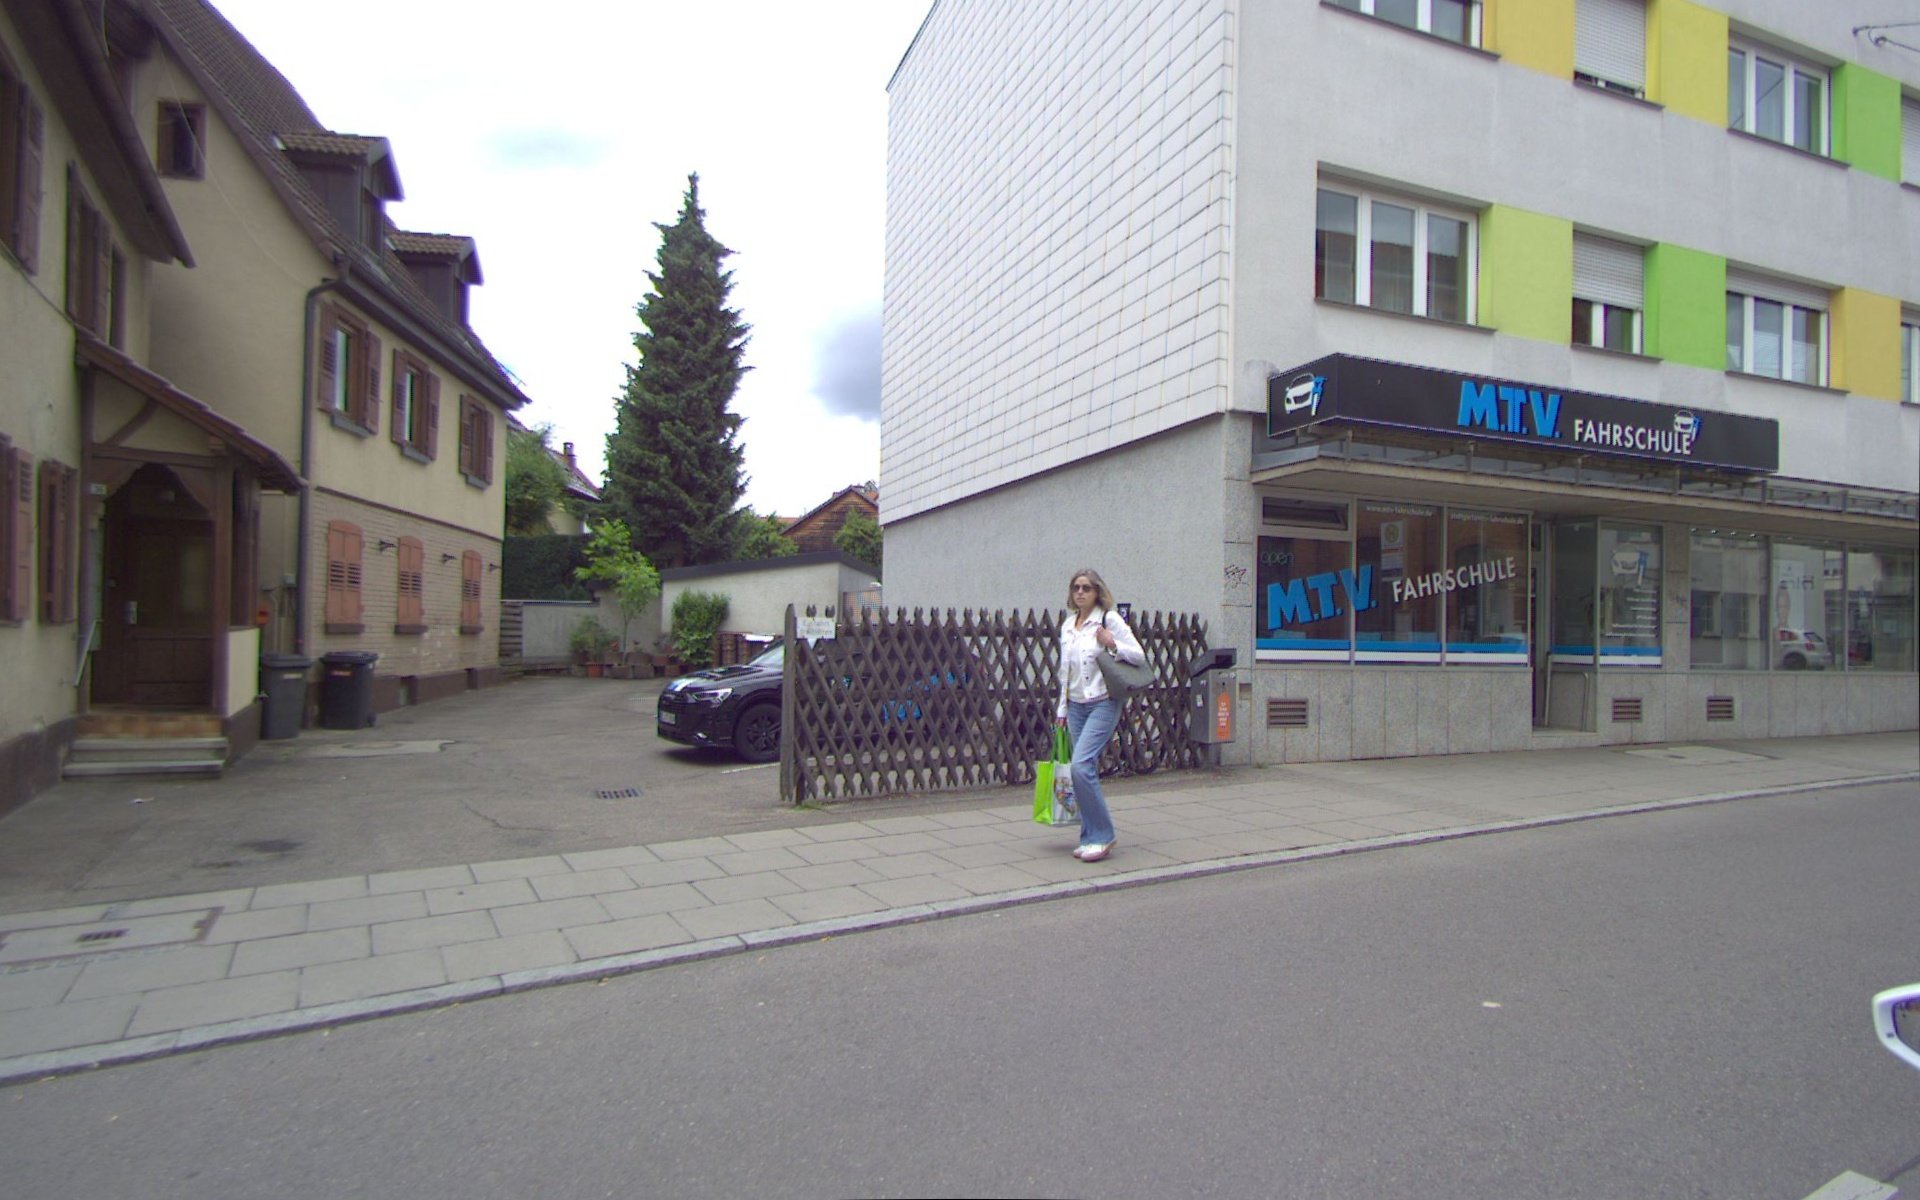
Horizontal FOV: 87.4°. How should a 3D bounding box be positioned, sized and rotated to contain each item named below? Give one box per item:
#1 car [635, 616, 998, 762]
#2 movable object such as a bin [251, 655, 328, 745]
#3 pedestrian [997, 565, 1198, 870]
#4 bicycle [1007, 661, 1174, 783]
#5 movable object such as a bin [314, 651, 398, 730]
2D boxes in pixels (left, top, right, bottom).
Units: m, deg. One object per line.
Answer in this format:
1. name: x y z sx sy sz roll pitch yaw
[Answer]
1. car: -1.764 1.028 12.998 4.250 1.584 1.979 2 -2 -38
2. movable object such as a bin: -8.406 1.237 12.613 0.524 1.081 0.637 0 -1 0
3. pedestrian: 0.837 0.665 6.184 0.853 1.687 0.886 1 -1 -35
4. bicycle: 1.271 1.133 9.593 1.727 1.067 0.321 1 -1 -29
5. movable object such as a bin: -8.423 1.242 14.035 0.628 1.040 0.969 1 -1 -6
